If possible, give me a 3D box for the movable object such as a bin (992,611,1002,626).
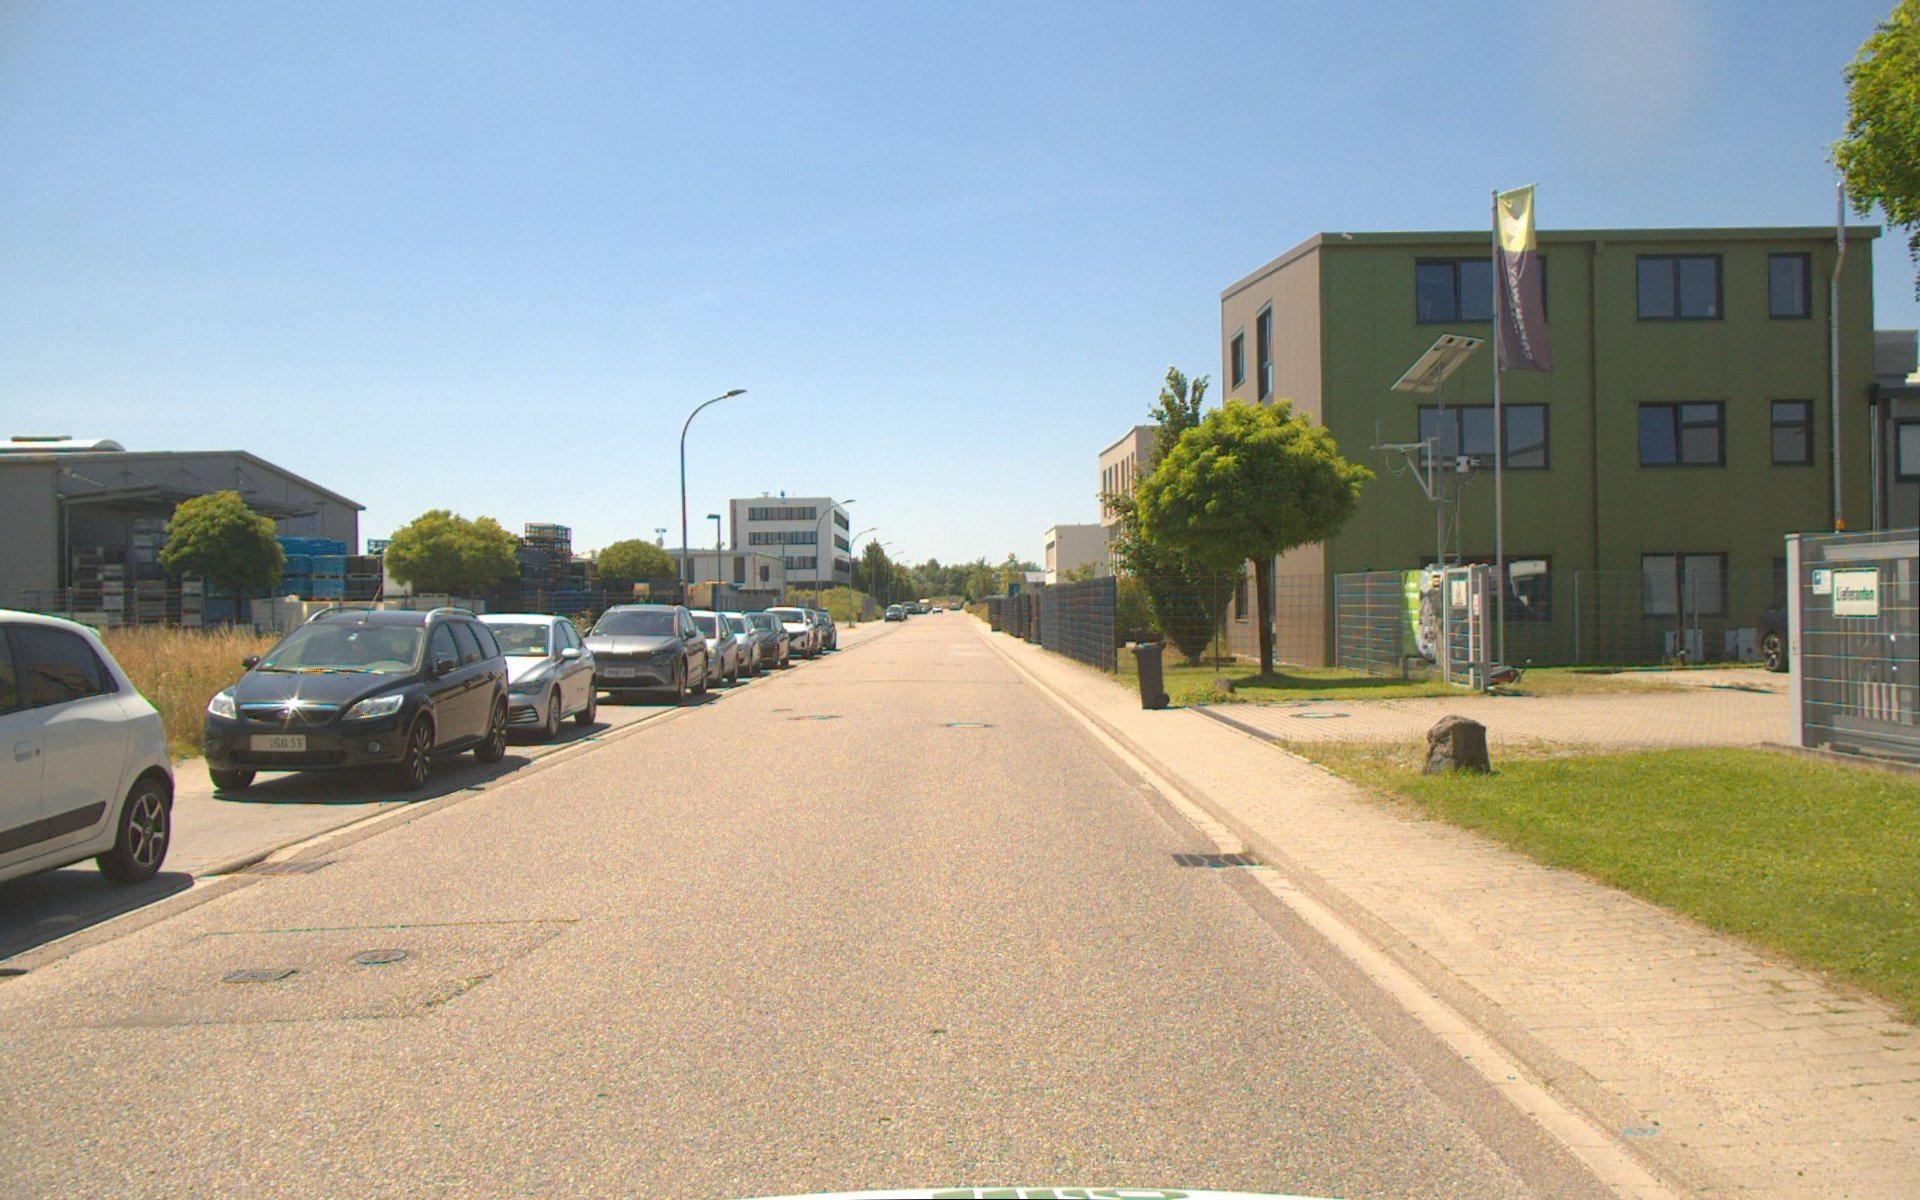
[{"bbox_3d":[2.519,1.230,112.342,0.541,0.944,0.522,-5,1,4],"label":"movable object such as a bin"}]

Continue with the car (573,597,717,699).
[{"bbox_3d":[-5.411,0.776,28.946,1.754,1.635,4.461,0,0,-1],"label":"car"}]

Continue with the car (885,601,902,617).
[{"bbox_3d":[-6.428,0.870,160.090,1.437,1.516,3.207,-1,0,0],"label":"car"}]

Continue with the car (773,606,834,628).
[{"bbox_3d":[-11.203,1.212,118.808,4.190,1.388,1.897,-1,0,0],"label":"car"}]

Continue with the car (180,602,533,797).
[{"bbox_3d":[-5.392,0.803,15.433,1.727,1.544,4.379,0,0,-1],"label":"car"}]

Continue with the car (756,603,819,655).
[{"bbox_3d":[-5.620,0.930,54.278,1.733,1.620,4.358,0,0,-2],"label":"car"}]

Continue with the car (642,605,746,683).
[{"bbox_3d":[-5.558,0.890,34.906,1.659,1.552,3.734,0,0,-1],"label":"car"}]

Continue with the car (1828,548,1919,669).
[{"bbox_3d":[17.072,0.132,27.804,1.953,2.031,5.654,-1,1,0],"label":"car"}]

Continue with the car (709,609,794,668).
[{"bbox_3d":[-5.666,1.022,45.433,1.819,1.506,4.229,0,0,-1],"label":"car"}]

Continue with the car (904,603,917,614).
[{"bbox_3d":[-6.478,1.095,215.068,1.611,1.516,3.207,-1,0,0],"label":"car"}]

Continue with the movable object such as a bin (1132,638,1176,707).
[{"bbox_3d":[2.801,1.043,23.857,0.540,0.944,0.522,-4,-1,9],"label":"movable object such as a bin"}]

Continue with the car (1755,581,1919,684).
[{"bbox_3d":[14.788,0.452,26.389,1.953,1.464,4.612,-1,1,0],"label":"car"}]

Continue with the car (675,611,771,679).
[{"bbox_3d":[-5.714,1.047,40.330,1.739,1.506,4.814,0,0,-1],"label":"car"}]

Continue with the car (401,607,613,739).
[{"bbox_3d":[-5.609,0.842,20.975,1.728,1.476,4.198,0,0,-3],"label":"car"}]

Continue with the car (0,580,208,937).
[{"bbox_3d":[-5.415,0.751,8.162,1.751,1.685,3.767,0,0,-1],"label":"car"}]

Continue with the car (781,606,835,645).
[{"bbox_3d":[-5.957,0.980,65.303,1.733,1.487,4.333,0,0,0],"label":"car"}]
